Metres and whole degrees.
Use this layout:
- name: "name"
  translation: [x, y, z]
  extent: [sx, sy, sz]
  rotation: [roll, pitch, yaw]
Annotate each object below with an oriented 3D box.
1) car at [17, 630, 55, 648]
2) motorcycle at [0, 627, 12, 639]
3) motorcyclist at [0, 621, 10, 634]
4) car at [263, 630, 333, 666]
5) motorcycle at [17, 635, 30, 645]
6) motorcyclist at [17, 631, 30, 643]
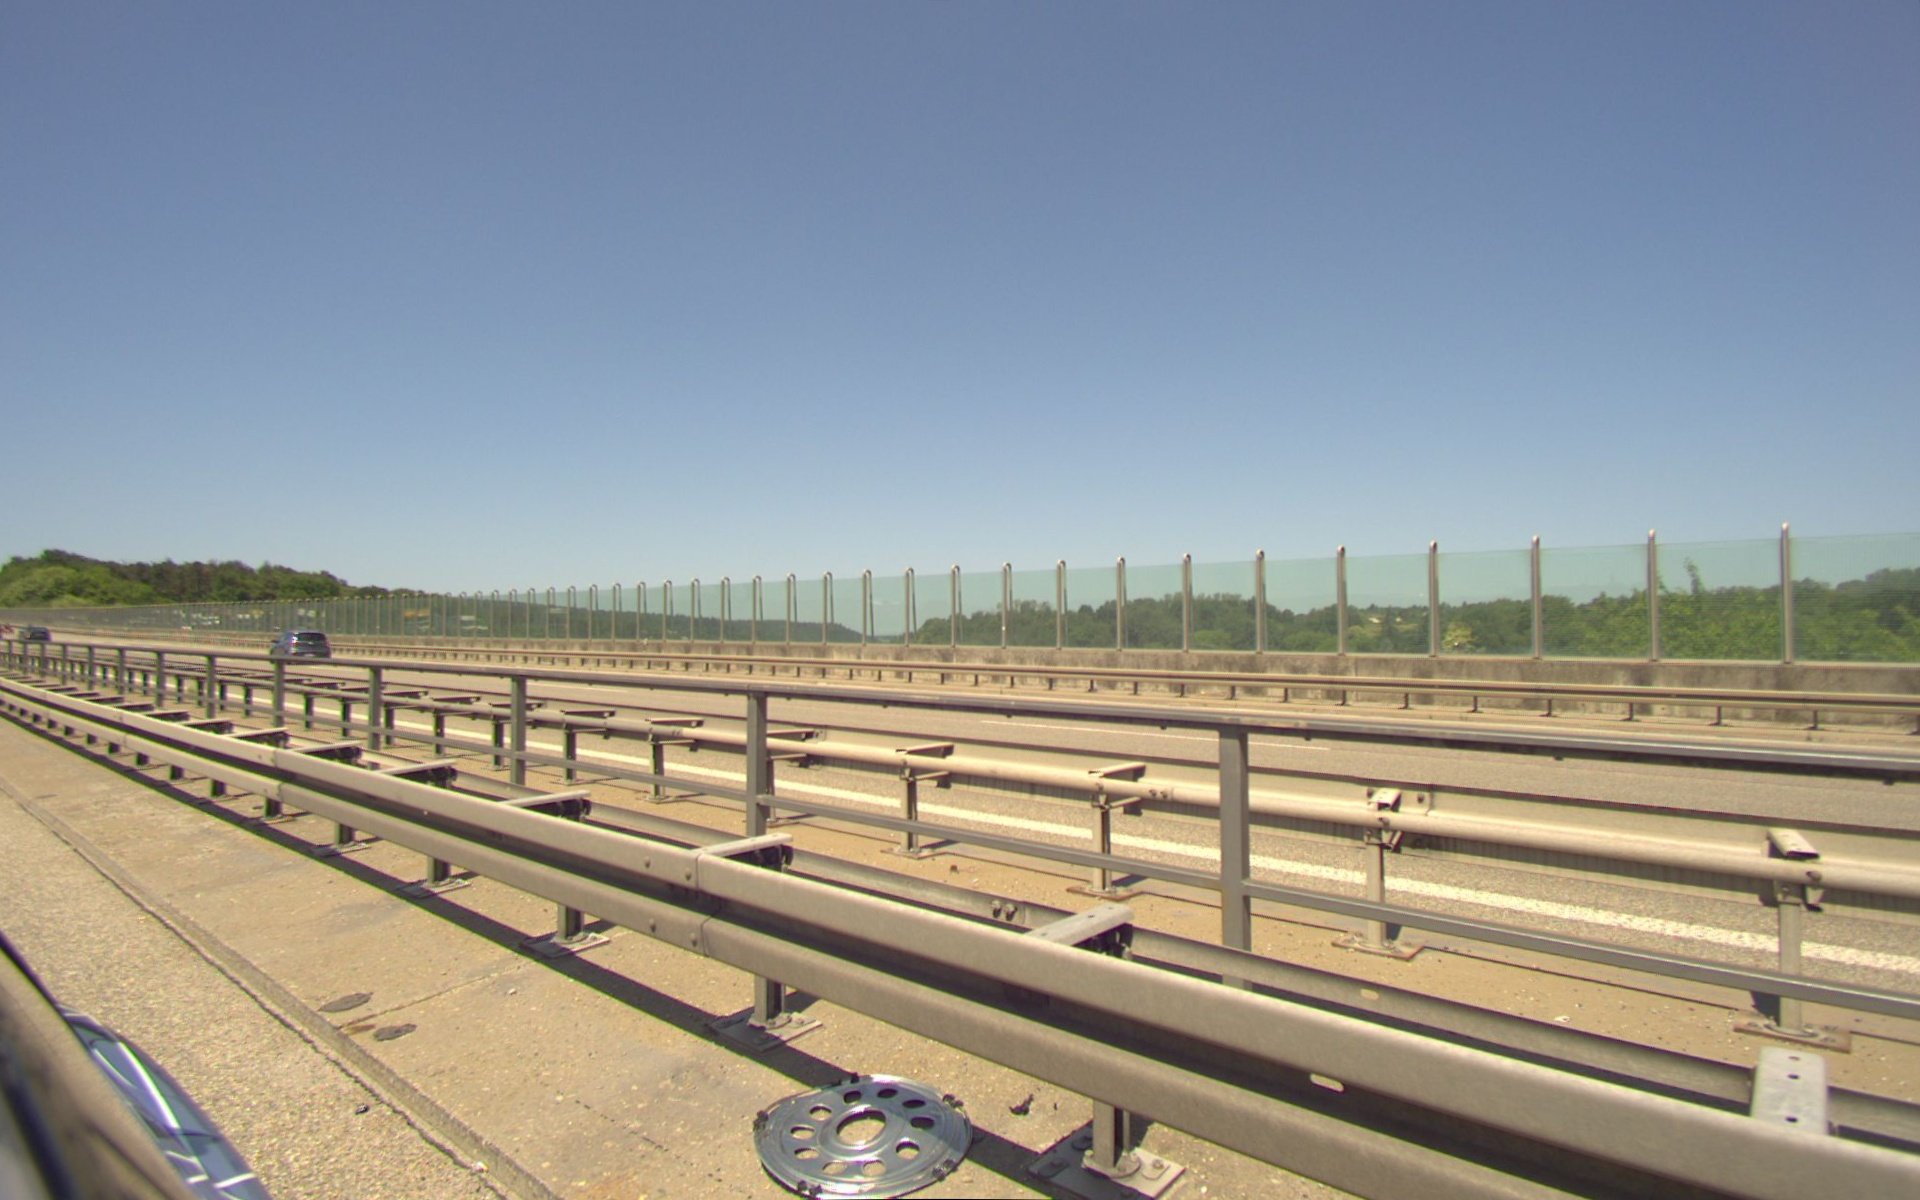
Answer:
- name: "car"
  translation: [-74.346, 3.105, 81.391]
  extent: [4.268, 1.330, 1.742]
  rotation: [-1, -3, 41]
- name: "motorcycle"
  translation: [-129.535, 4.448, 136.923]
  extent: [3.380, 1.488, 1.471]
  rotation: [-1, -1, 40]
- name: "motorcyclist"
  translation: [-129.495, 3.763, 136.848]
  extent: [1.132, 1.697, 1.362]
  rotation: [-1, 0, 39]
- name: "car"
  translation: [-29.183, 2.095, 44.577]
  extent: [3.540, 1.473, 1.635]
  rotation: [-1, -2, 41]
- name: "motorcycle"
  translation: [-108.900, 4.667, 117.665]
  extent: [2.648, 1.079, 0.782]
  rotation: [-1, -2, 41]
- name: "motorcyclist"
  translation: [-108.705, 4.314, 117.472]
  extent: [1.286, 1.293, 0.910]
  rotation: [-1, 0, 41]
